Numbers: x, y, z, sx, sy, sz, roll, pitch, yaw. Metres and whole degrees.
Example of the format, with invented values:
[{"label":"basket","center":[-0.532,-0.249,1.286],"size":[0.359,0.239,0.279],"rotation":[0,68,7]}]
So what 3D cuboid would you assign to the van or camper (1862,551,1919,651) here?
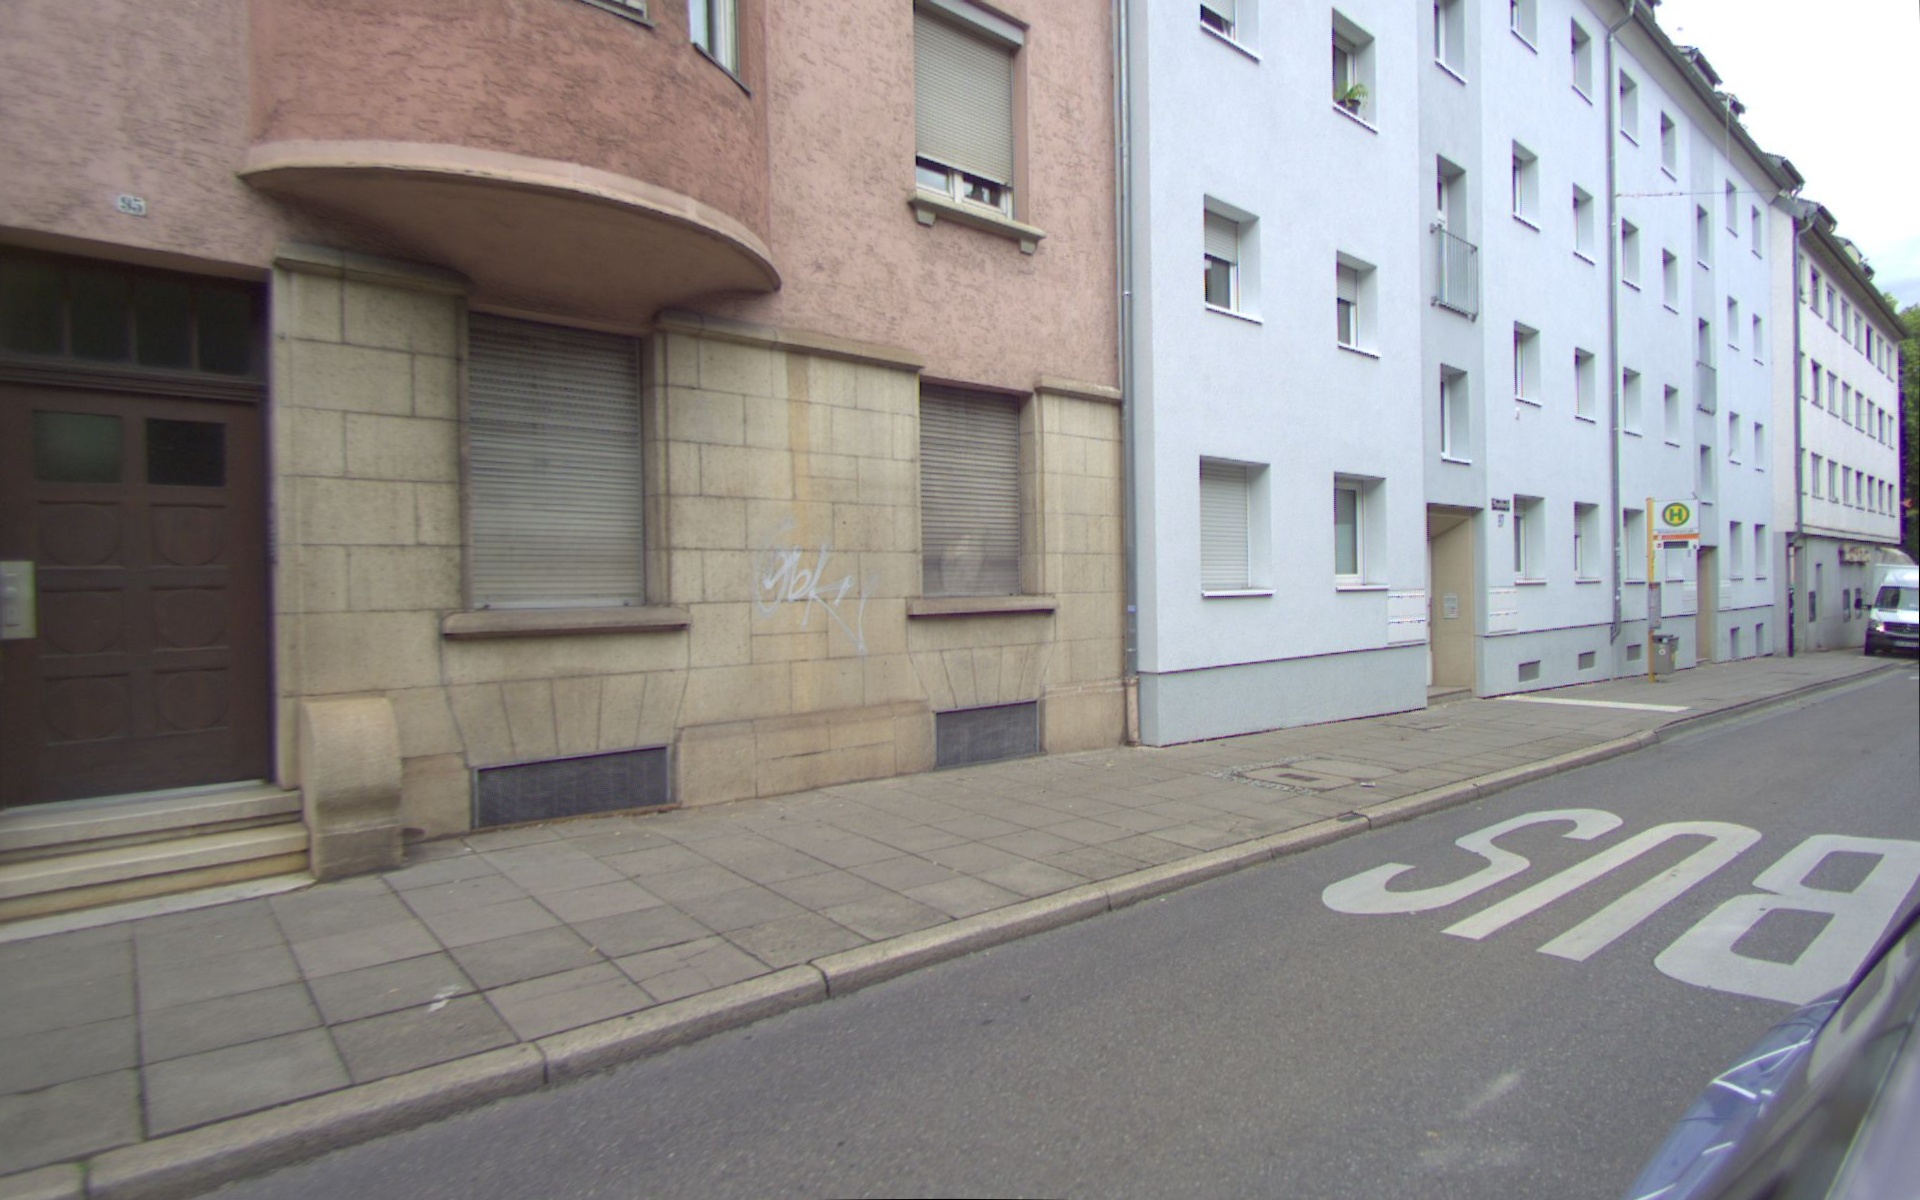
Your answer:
[{"label":"van or camper","center":[29.737,0.032,31.054],"size":[7.116,2.838,2.482],"rotation":[0,0,-43]}]
